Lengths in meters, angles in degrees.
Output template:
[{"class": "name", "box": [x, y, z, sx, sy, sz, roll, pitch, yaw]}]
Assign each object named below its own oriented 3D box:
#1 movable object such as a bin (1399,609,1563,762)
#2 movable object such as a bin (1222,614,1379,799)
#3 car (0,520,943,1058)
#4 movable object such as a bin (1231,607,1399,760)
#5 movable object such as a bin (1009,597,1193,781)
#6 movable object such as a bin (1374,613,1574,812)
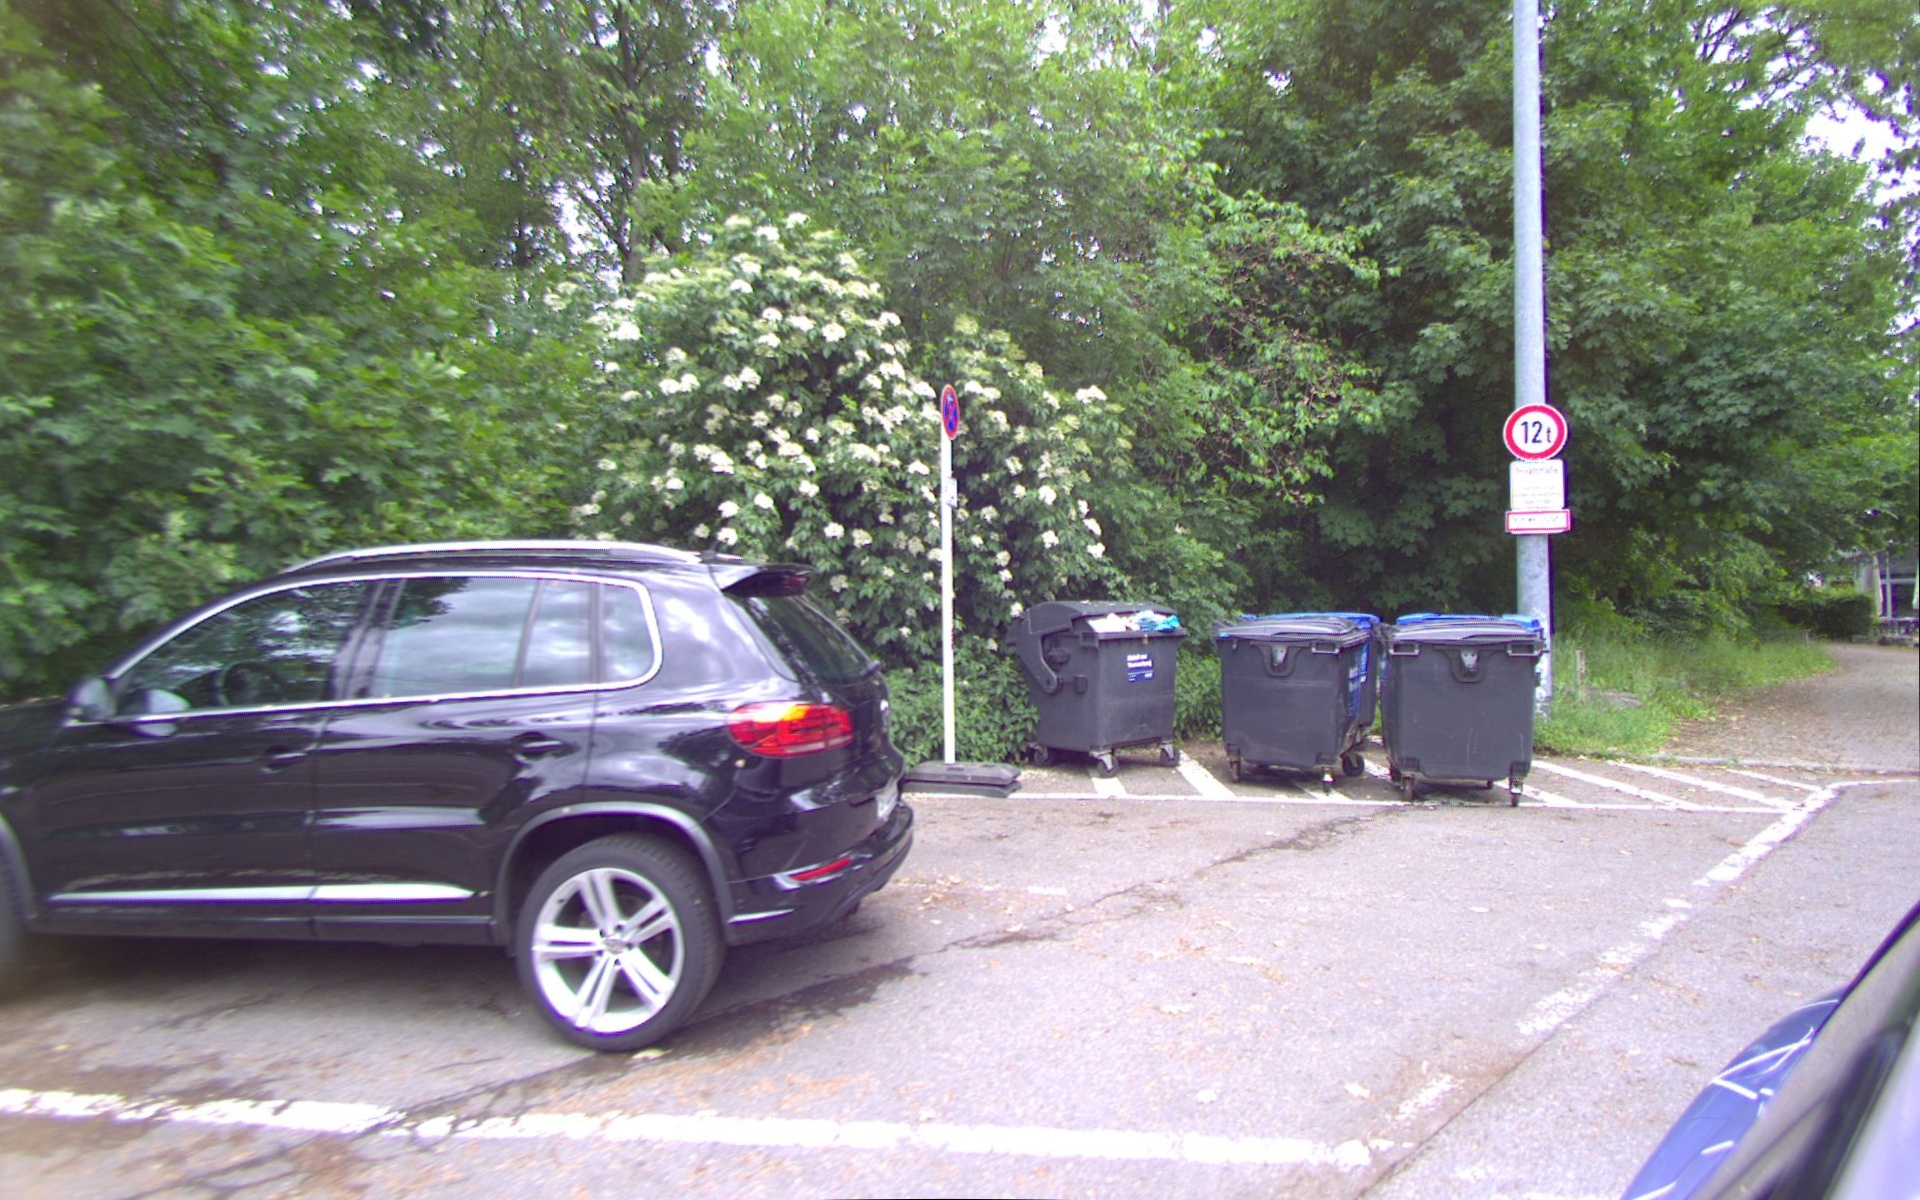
[{"class": "movable object such as a bin", "box": [5.042, 0.761, 9.781, 1.249, 1.342, 1.131, 0, -1, 36]}, {"class": "movable object such as a bin", "box": [2.719, 0.783, 8.131, 1.112, 1.331, 1.177, 0, -1, 19]}, {"class": "car", "box": [-2.150, 0.585, 4.296, 4.000, 1.706, 1.782, 0, 0, 5]}, {"class": "movable object such as a bin", "box": [3.426, 0.739, 9.754, 1.123, 1.337, 1.220, 0, -1, 44]}, {"class": "movable object such as a bin", "box": [1.206, 0.701, 8.732, 1.110, 1.443, 1.126, 1, -1, -38]}, {"class": "movable object such as a bin", "box": [3.806, 0.769, 7.649, 1.157, 1.324, 1.305, 0, -1, 19]}]
